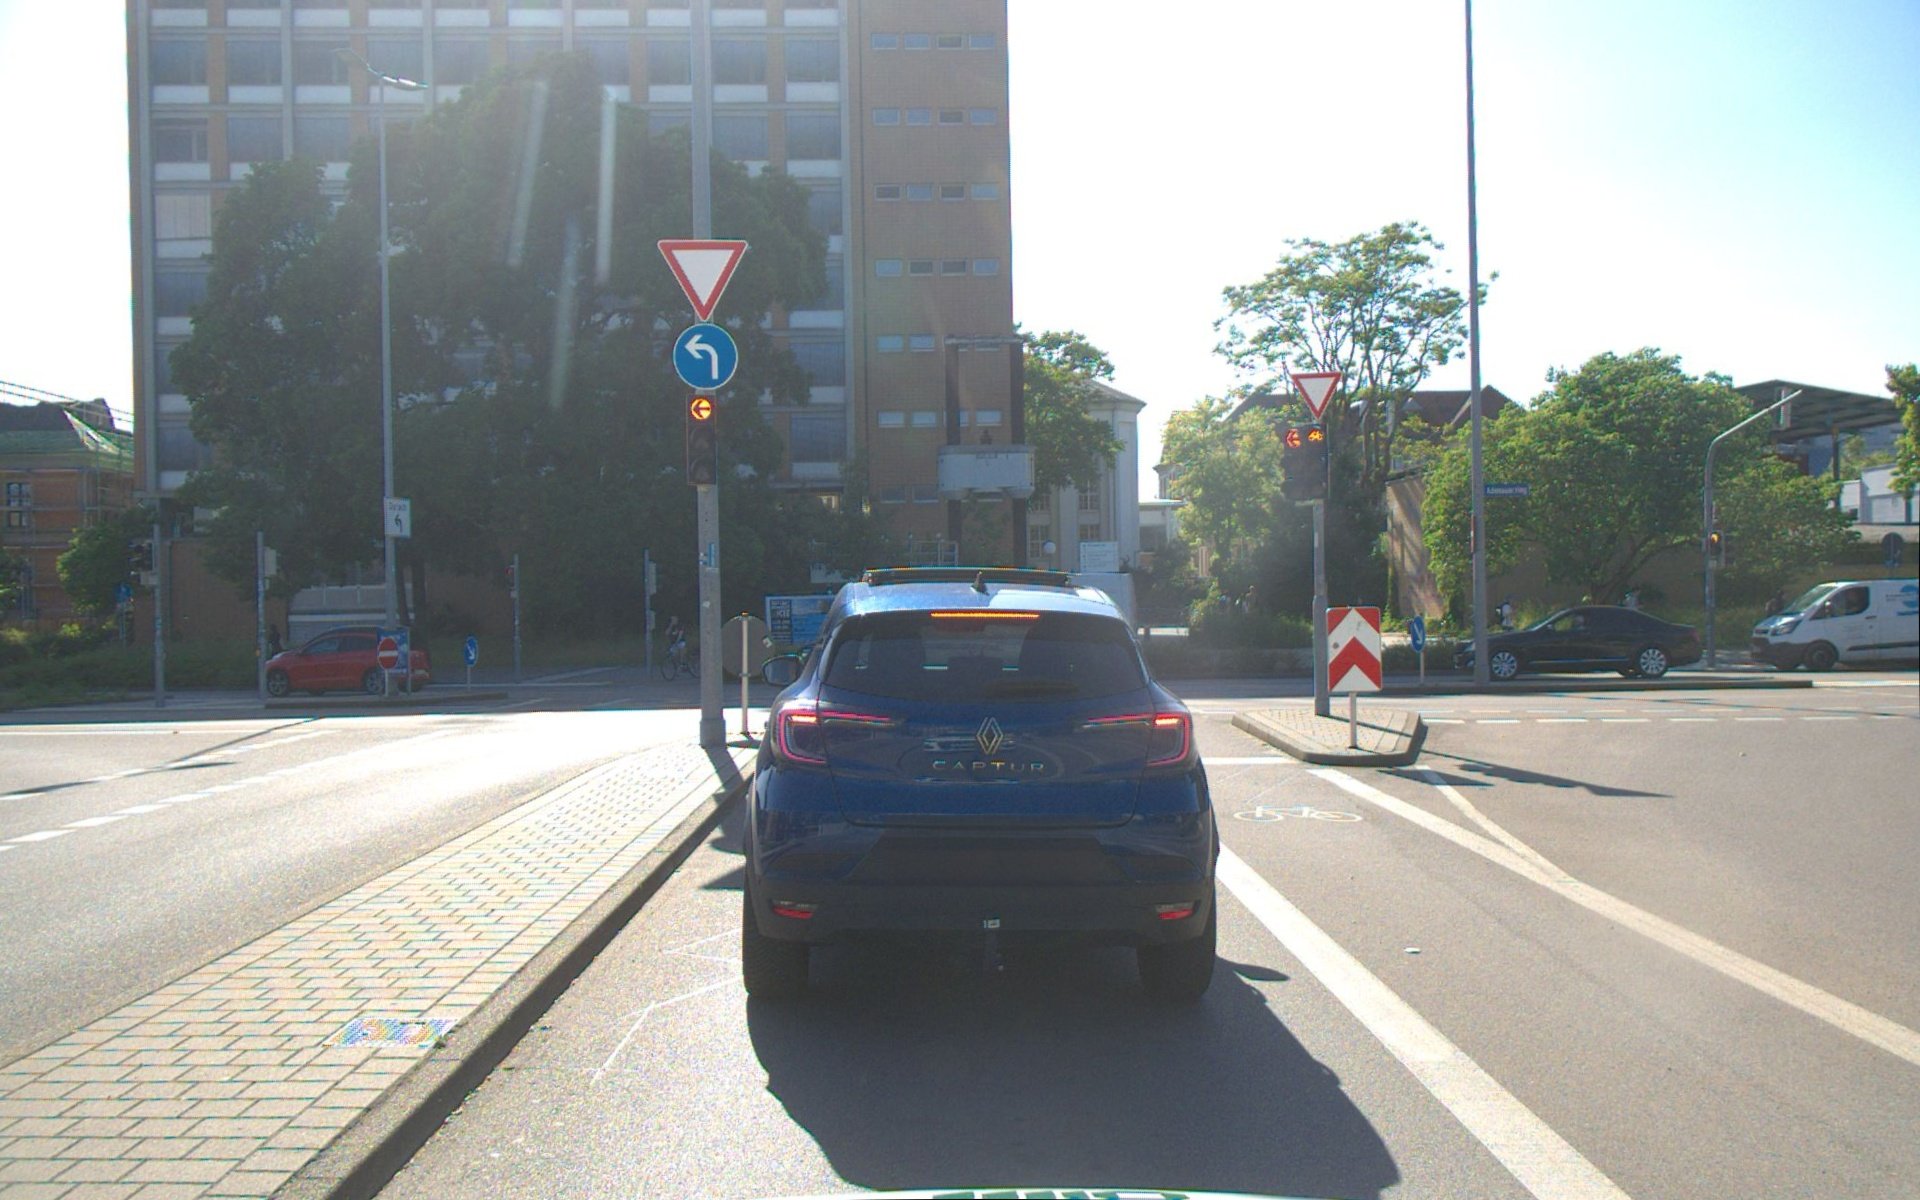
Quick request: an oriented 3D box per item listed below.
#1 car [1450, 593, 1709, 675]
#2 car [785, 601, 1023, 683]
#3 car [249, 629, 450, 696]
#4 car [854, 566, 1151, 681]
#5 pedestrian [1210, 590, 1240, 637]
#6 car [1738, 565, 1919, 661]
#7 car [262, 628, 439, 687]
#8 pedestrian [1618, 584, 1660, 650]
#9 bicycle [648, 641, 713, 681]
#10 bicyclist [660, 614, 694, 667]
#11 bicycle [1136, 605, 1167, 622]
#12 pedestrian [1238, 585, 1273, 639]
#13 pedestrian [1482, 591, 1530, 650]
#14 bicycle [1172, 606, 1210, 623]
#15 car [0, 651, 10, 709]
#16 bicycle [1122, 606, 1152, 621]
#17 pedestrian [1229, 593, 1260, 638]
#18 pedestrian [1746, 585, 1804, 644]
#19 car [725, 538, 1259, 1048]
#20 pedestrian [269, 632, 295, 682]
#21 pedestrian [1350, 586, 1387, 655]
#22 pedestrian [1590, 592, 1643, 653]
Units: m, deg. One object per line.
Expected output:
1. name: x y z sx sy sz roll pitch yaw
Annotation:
1. car: 13.026 0.707 35.039 4.739 1.609 2.103 -1 0 6
2. car: -1.205 0.940 36.738 4.922 1.702 2.001 1 -3 11
3. car: -14.529 1.471 39.474 3.958 1.464 2.067 -1 0 9
4. car: 1.098 0.559 40.390 6.786 2.591 3.015 -1 0 12
5. pedestrian: 10.029 0.513 62.641 0.933 1.772 0.984 -1 0 -1
6. car: 20.371 0.273 37.056 4.893 2.049 2.074 -1 0 7
7. car: -16.309 1.531 44.340 3.958 1.464 2.067 -1 0 15
8. pedestrian: 18.514 0.452 45.089 0.943 1.762 0.926 -1 0 17
9. bicycle: -7.630 1.661 45.180 0.685 1.025 1.864 -4 -3 31
10. bicyclist: -7.720 1.105 45.085 0.635 1.437 0.637 -3 -3 31
11. bicycle: 11.149 0.787 96.406 1.735 0.914 0.765 -1 0 -1
12. pedestrian: 11.530 0.464 64.606 1.132 2.049 1.164 -1 0 -1
13. pedestrian: 14.719 0.541 44.589 1.062 1.547 0.931 -1 0 9
14. bicycle: 11.810 0.759 84.615 1.739 0.837 0.763 -1 0 -11
15. car: -26.896 2.115 42.509 3.817 1.474 2.103 -1 0 11
16. bicycle: 10.801 0.809 100.764 1.735 0.908 0.765 -1 0 -1
17. pedestrian: 10.691 0.572 62.224 0.917 1.641 1.175 -1 0 -1
18. pedestrian: 21.821 0.384 44.310 1.122 1.547 0.942 -1 0 5
19. car: 0.056 0.631 7.412 1.758 1.684 3.852 1 0 -2
20. pedestrian: -22.157 1.855 54.040 0.522 1.598 0.555 -1 0 24
21. pedestrian: 11.313 0.568 45.828 0.912 1.888 0.808 -1 0 8
22. pedestrian: 17.105 0.584 43.118 1.052 1.547 0.879 -1 0 4
